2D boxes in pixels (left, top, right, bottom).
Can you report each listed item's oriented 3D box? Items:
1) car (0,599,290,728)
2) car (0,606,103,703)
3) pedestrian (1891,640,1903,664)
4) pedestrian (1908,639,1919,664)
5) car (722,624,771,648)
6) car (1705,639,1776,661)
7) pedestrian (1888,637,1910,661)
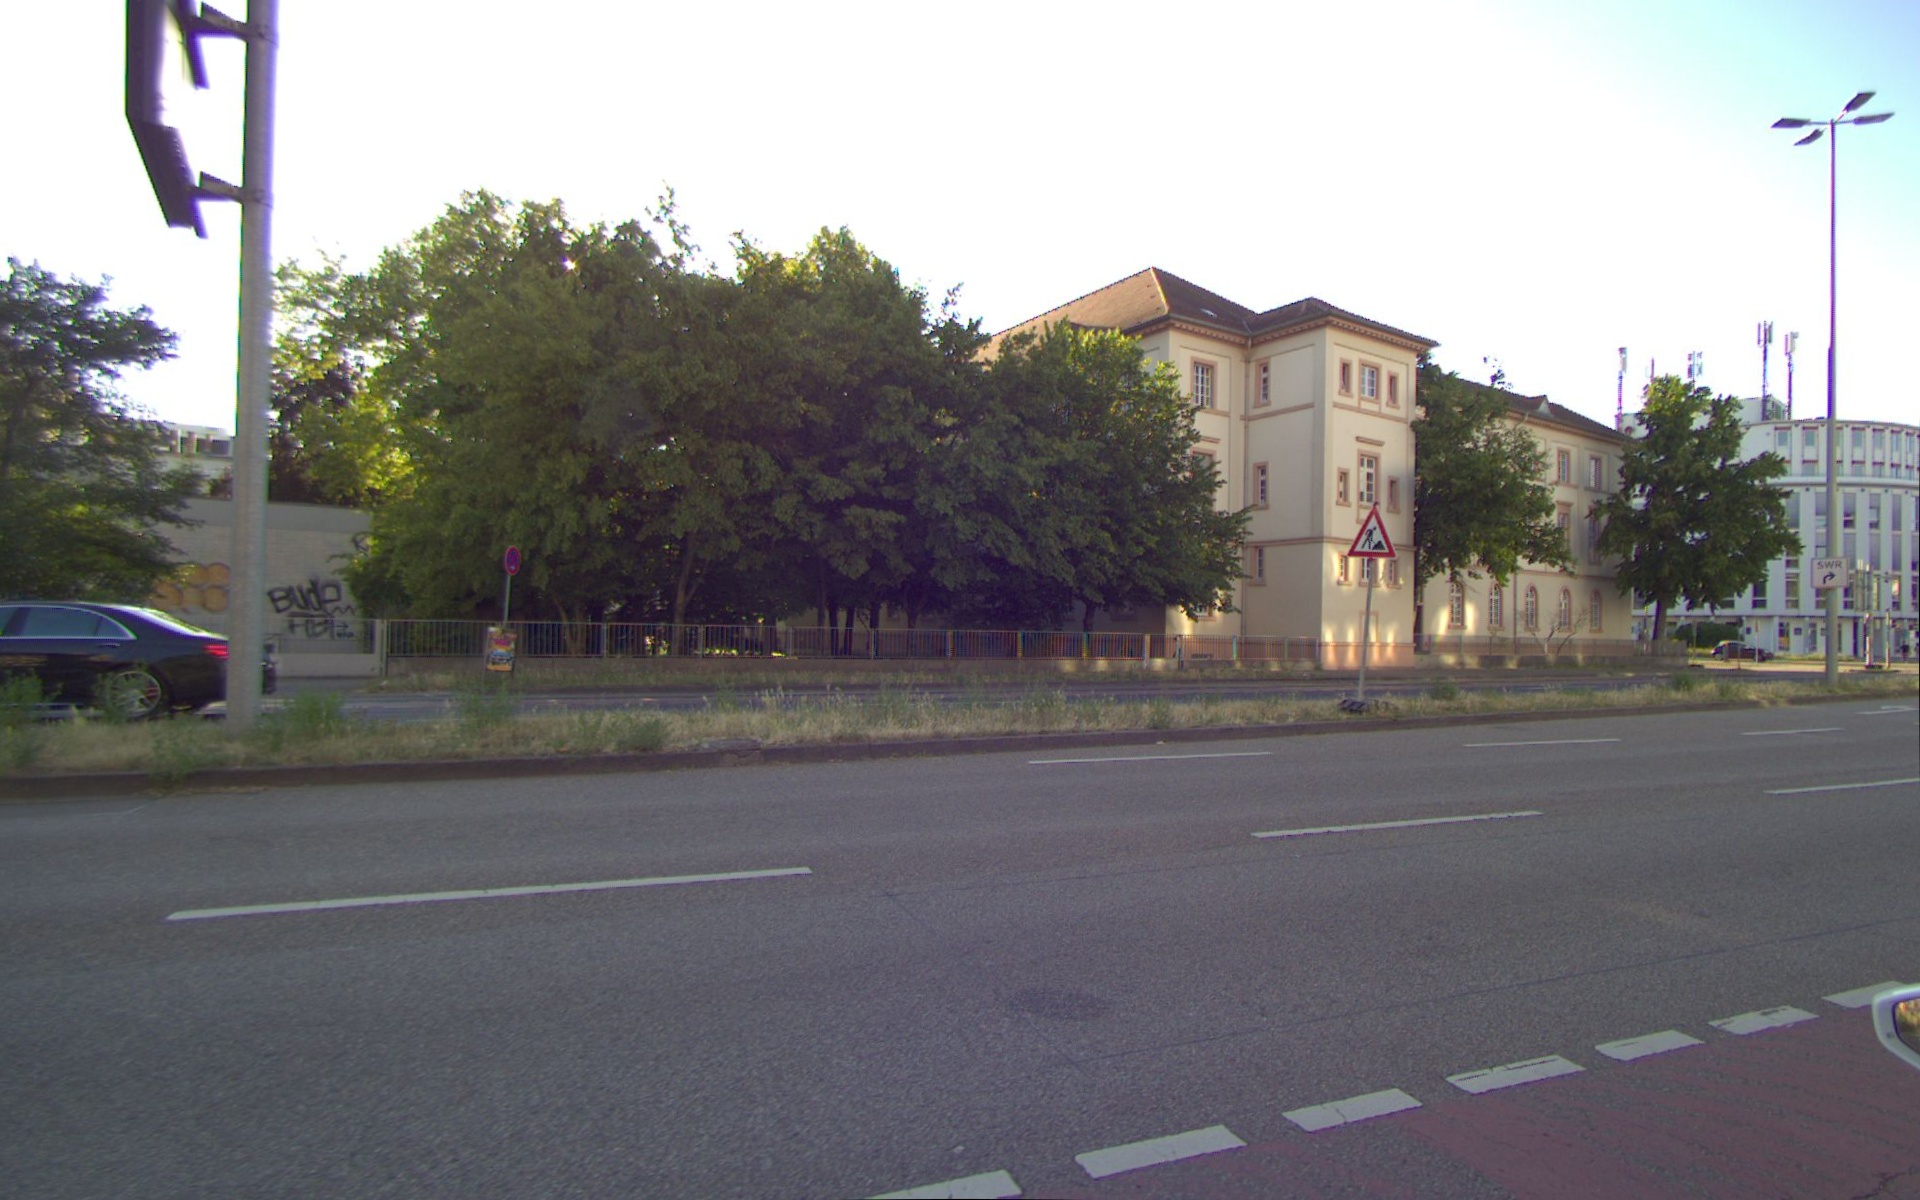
[{"bbox_3d":[-11.821,0.769,12.721,5.219,1.515,1.989,2,-2,-24],"label":"car"},{"bbox_3d":[-16.265,0.815,15.695,3.945,1.483,1.849,2,-1,-25],"label":"car"},{"bbox_3d":[73.339,4.046,78.619,0.653,1.883,0.774,0,-2,44],"label":"pedestrian"},{"bbox_3d":[73.963,3.998,77.805,0.813,1.866,0.751,2,-2,-44],"label":"pedestrian"},{"bbox_3d":[-14.019,2.331,65.883,1.978,1.541,3.655,2,-2,-33],"label":"car"},{"bbox_3d":[57.703,3.699,74.286,1.846,1.549,3.781,4,-5,-37],"label":"car"},{"bbox_3d":[81.254,4.265,86.913,1.021,2.040,1.089,1,-2,-24],"label":"pedestrian"}]
